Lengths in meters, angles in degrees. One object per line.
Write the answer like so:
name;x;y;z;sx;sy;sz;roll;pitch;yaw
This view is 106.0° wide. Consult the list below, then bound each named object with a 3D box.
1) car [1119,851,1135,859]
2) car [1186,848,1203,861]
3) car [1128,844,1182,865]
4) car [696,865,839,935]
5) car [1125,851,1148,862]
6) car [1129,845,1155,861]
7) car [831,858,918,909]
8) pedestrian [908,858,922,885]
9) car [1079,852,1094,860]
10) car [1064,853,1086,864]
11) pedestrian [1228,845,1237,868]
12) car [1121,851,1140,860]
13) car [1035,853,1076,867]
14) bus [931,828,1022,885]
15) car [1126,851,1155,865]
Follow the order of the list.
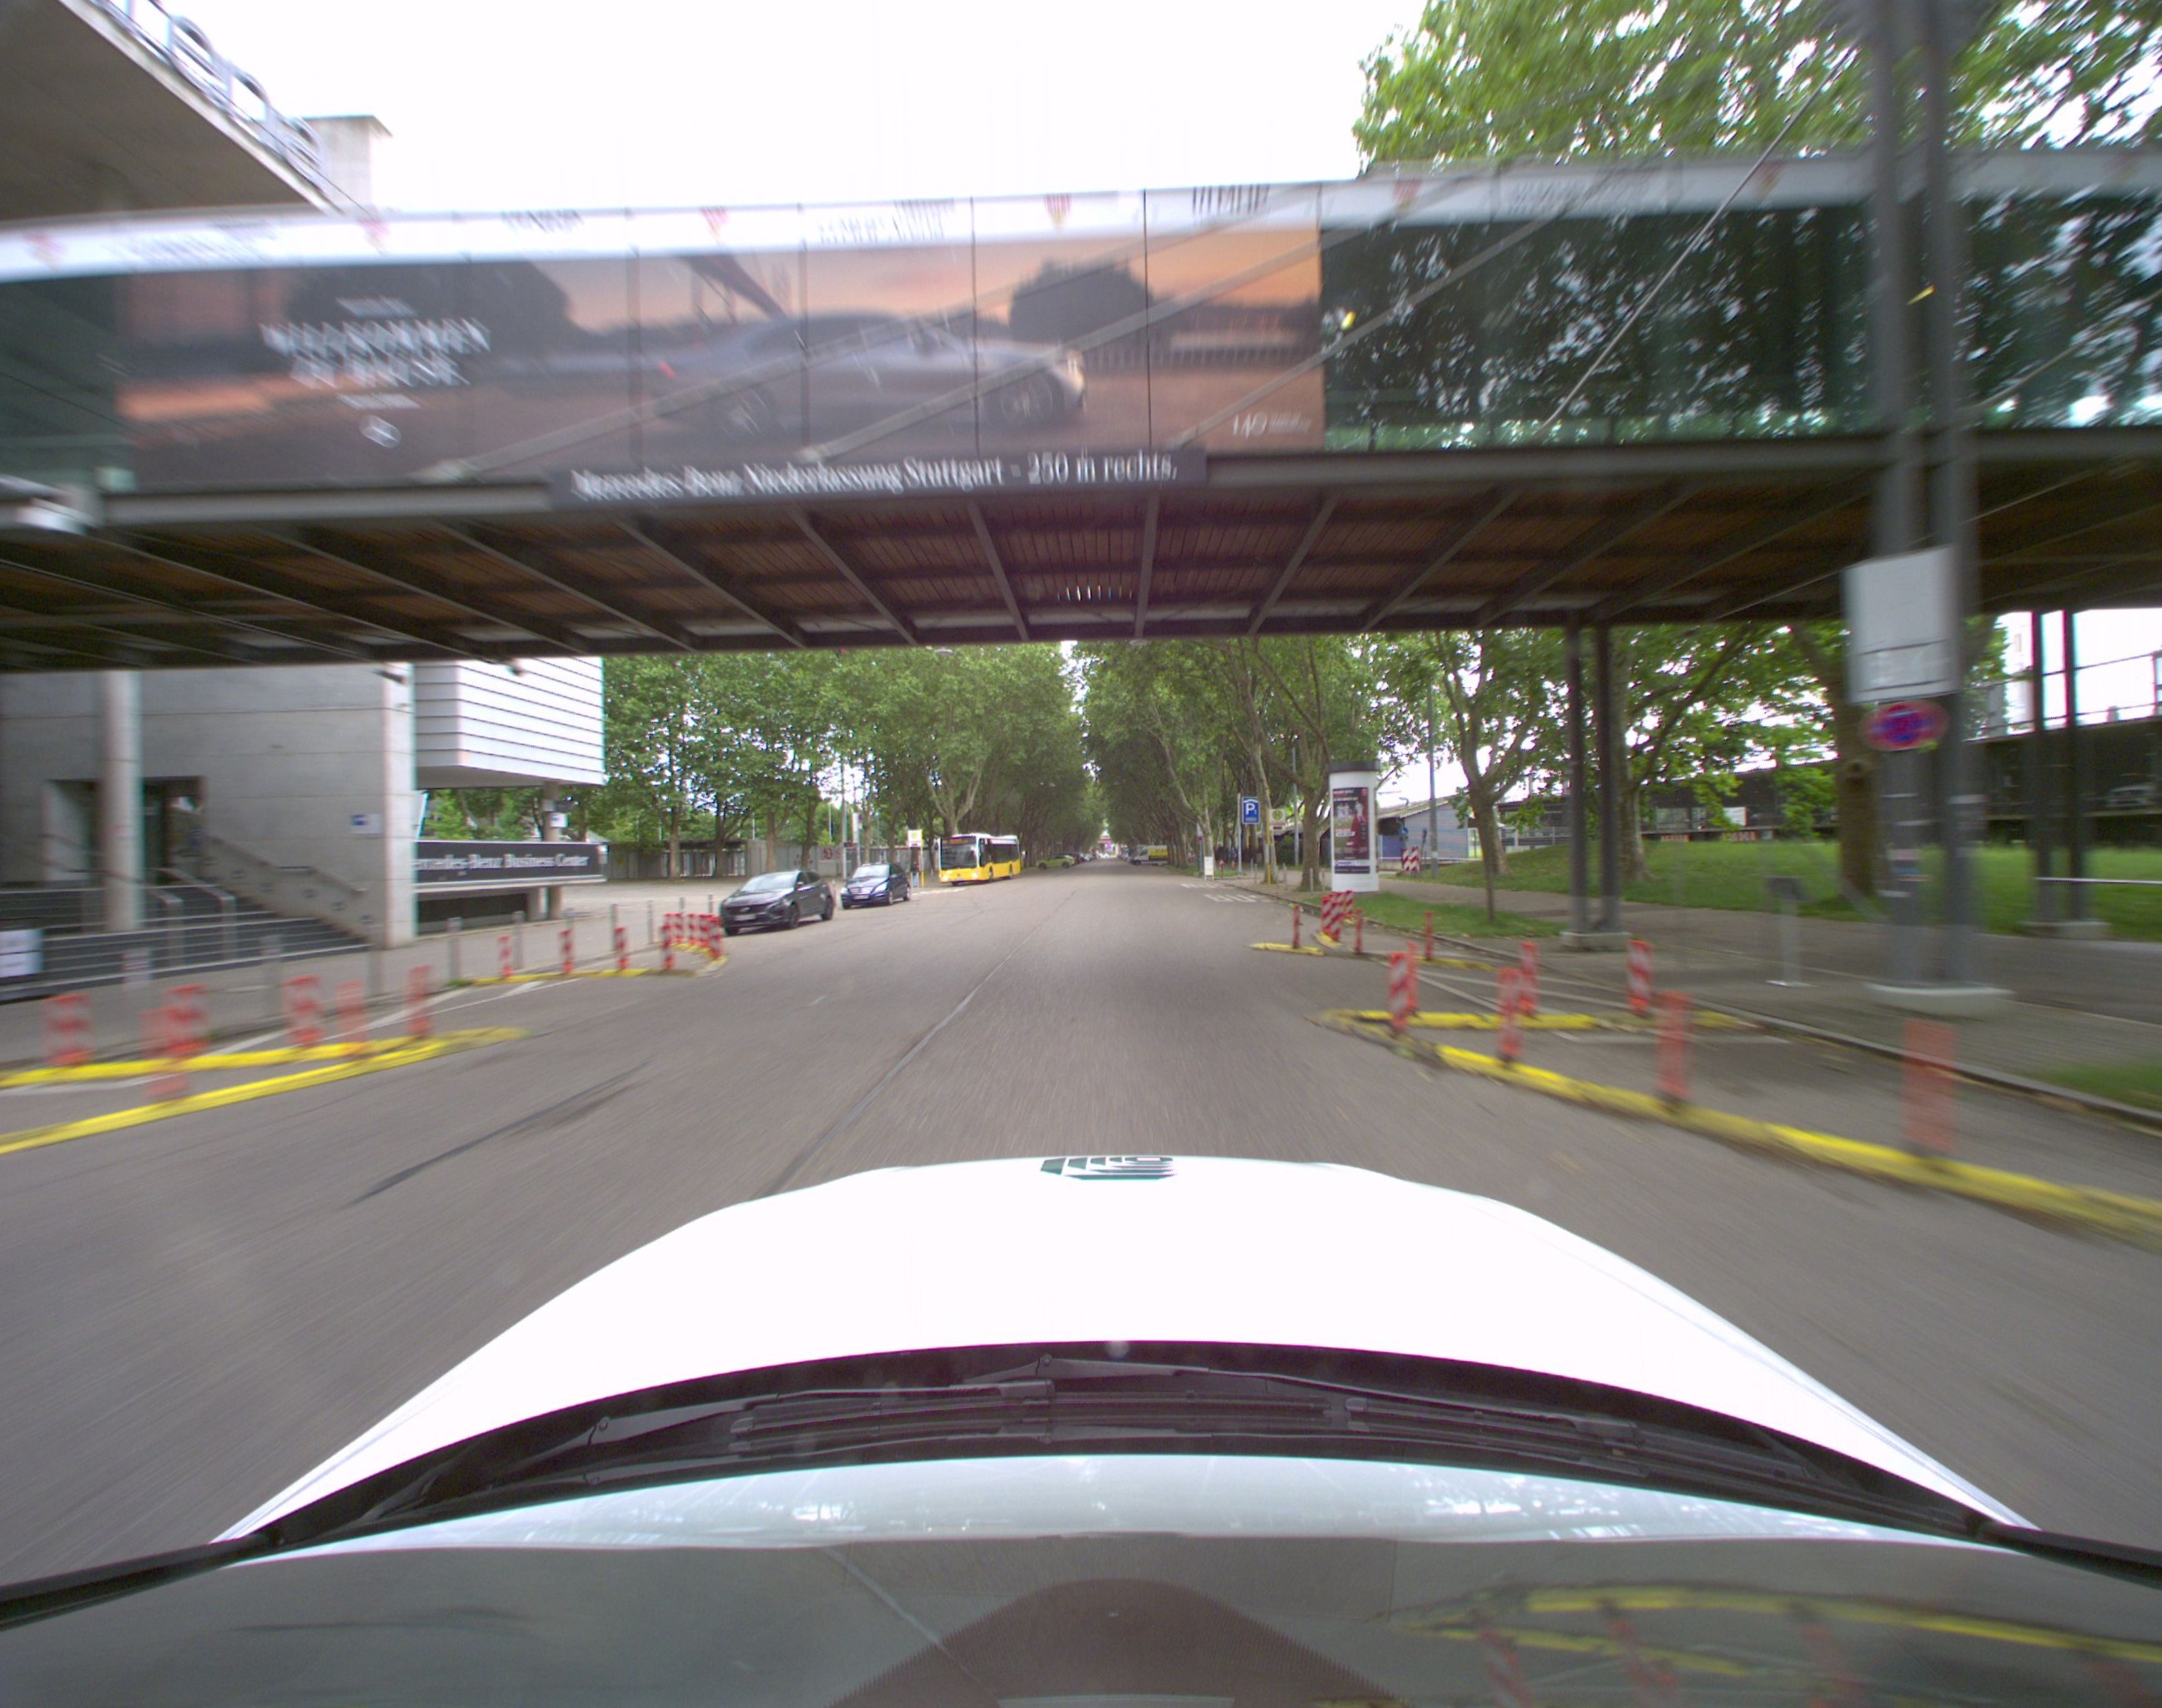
car;11.850;0.298;210.864;3.971;1.861;1.638;-1;0;2
car;15.580;0.051;111.863;1.986;1.772;4.003;-1;0;2
car;9.724;0.028;107.026;6.801;2.513;2.316;-2;0;0
car;-8.236;1.149;21.911;1.851;1.453;4.451;-4;0;2
car;9.919;0.408;145.736;3.972;1.794;1.543;-1;0;1
car;9.378;-0.092;125.143;3.972;2.339;1.543;-1;0;1
car;-7.742;1.057;30.931;1.986;1.584;4.116;-4;0;2
pedestrian;-10.009;1.070;49.036;0.670;1.603;0.606;-1;0;-23
car;1.448;0.493;211.373;3.971;1.969;2.001;-1;0;2
car;-0.978;0.772;141.220;3.643;1.863;1.627;-1;0;5
pedestrian;12.357;0.187;66.358;0.572;1.888;0.615;-1;0;-7
car;9.668;0.267;160.319;3.608;1.794;1.543;-1;0;1
car;-3.032;0.681;97.402;4.681;1.584;1.866;-1;0;3
bus;-6.525;0.108;53.540;3.024;3.160;12.696;-3;0;5
car;8.353;0.544;114.520;3.972;1.794;1.543;-1;0;1
